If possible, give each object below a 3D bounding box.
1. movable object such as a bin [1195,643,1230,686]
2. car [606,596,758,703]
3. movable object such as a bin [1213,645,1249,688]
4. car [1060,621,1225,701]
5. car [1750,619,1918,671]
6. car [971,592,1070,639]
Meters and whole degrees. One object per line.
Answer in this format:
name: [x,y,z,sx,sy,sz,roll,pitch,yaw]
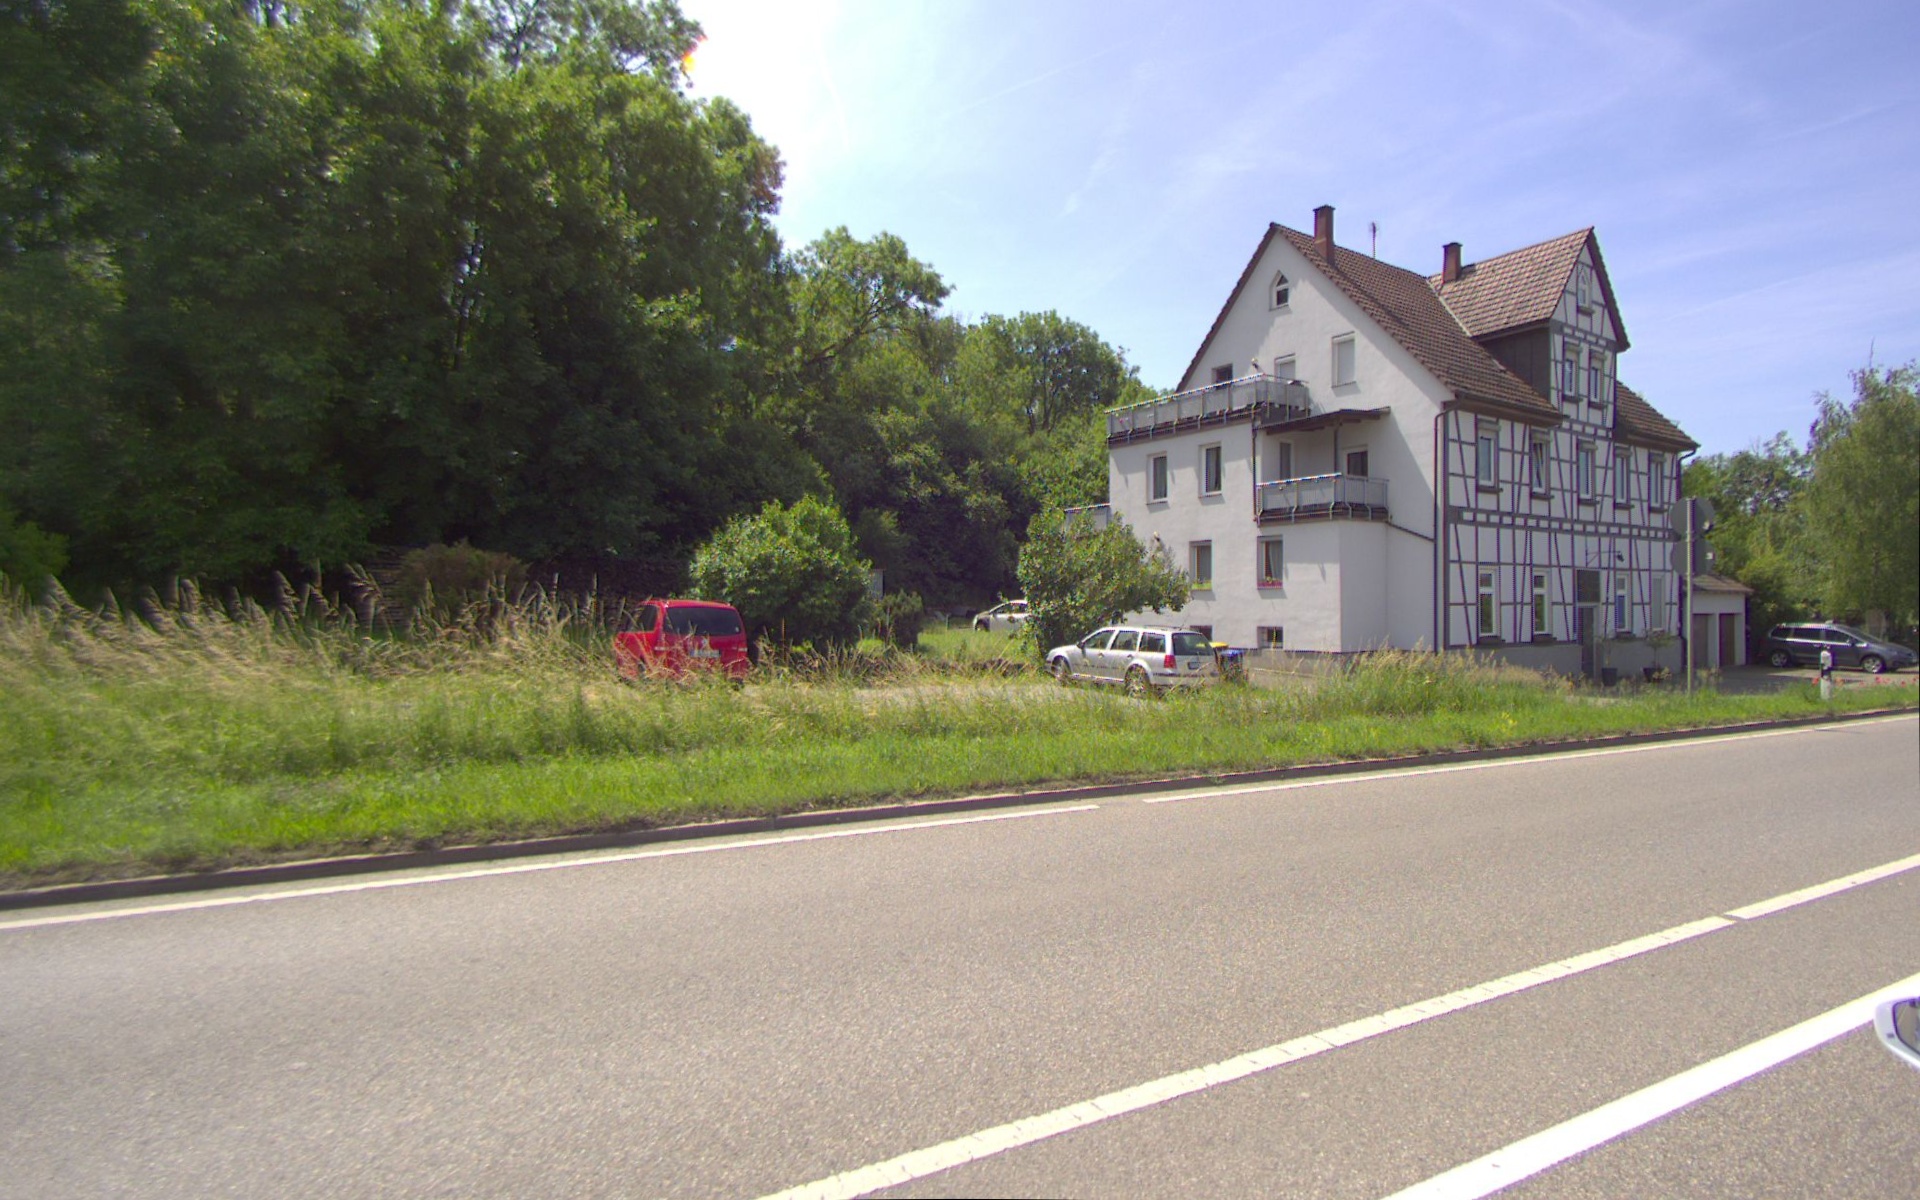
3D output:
movable object such as a bin: [5.990,1.524,23.837,0.648,0.982,0.500,2,0,-37]
car: [-5.087,0.796,18.018,1.810,1.640,4.011,1,0,-28]
movable object such as a bin: [6.323,1.544,23.426,0.648,0.949,0.500,2,0,-37]
car: [3.880,1.254,21.777,1.594,1.485,3.354,1,0,-35]
car: [34.051,1.695,39.270,1.841,1.743,4.636,-2,2,-32]
car: [2.161,0.525,36.246,1.659,1.466,3.346,1,2,-42]
